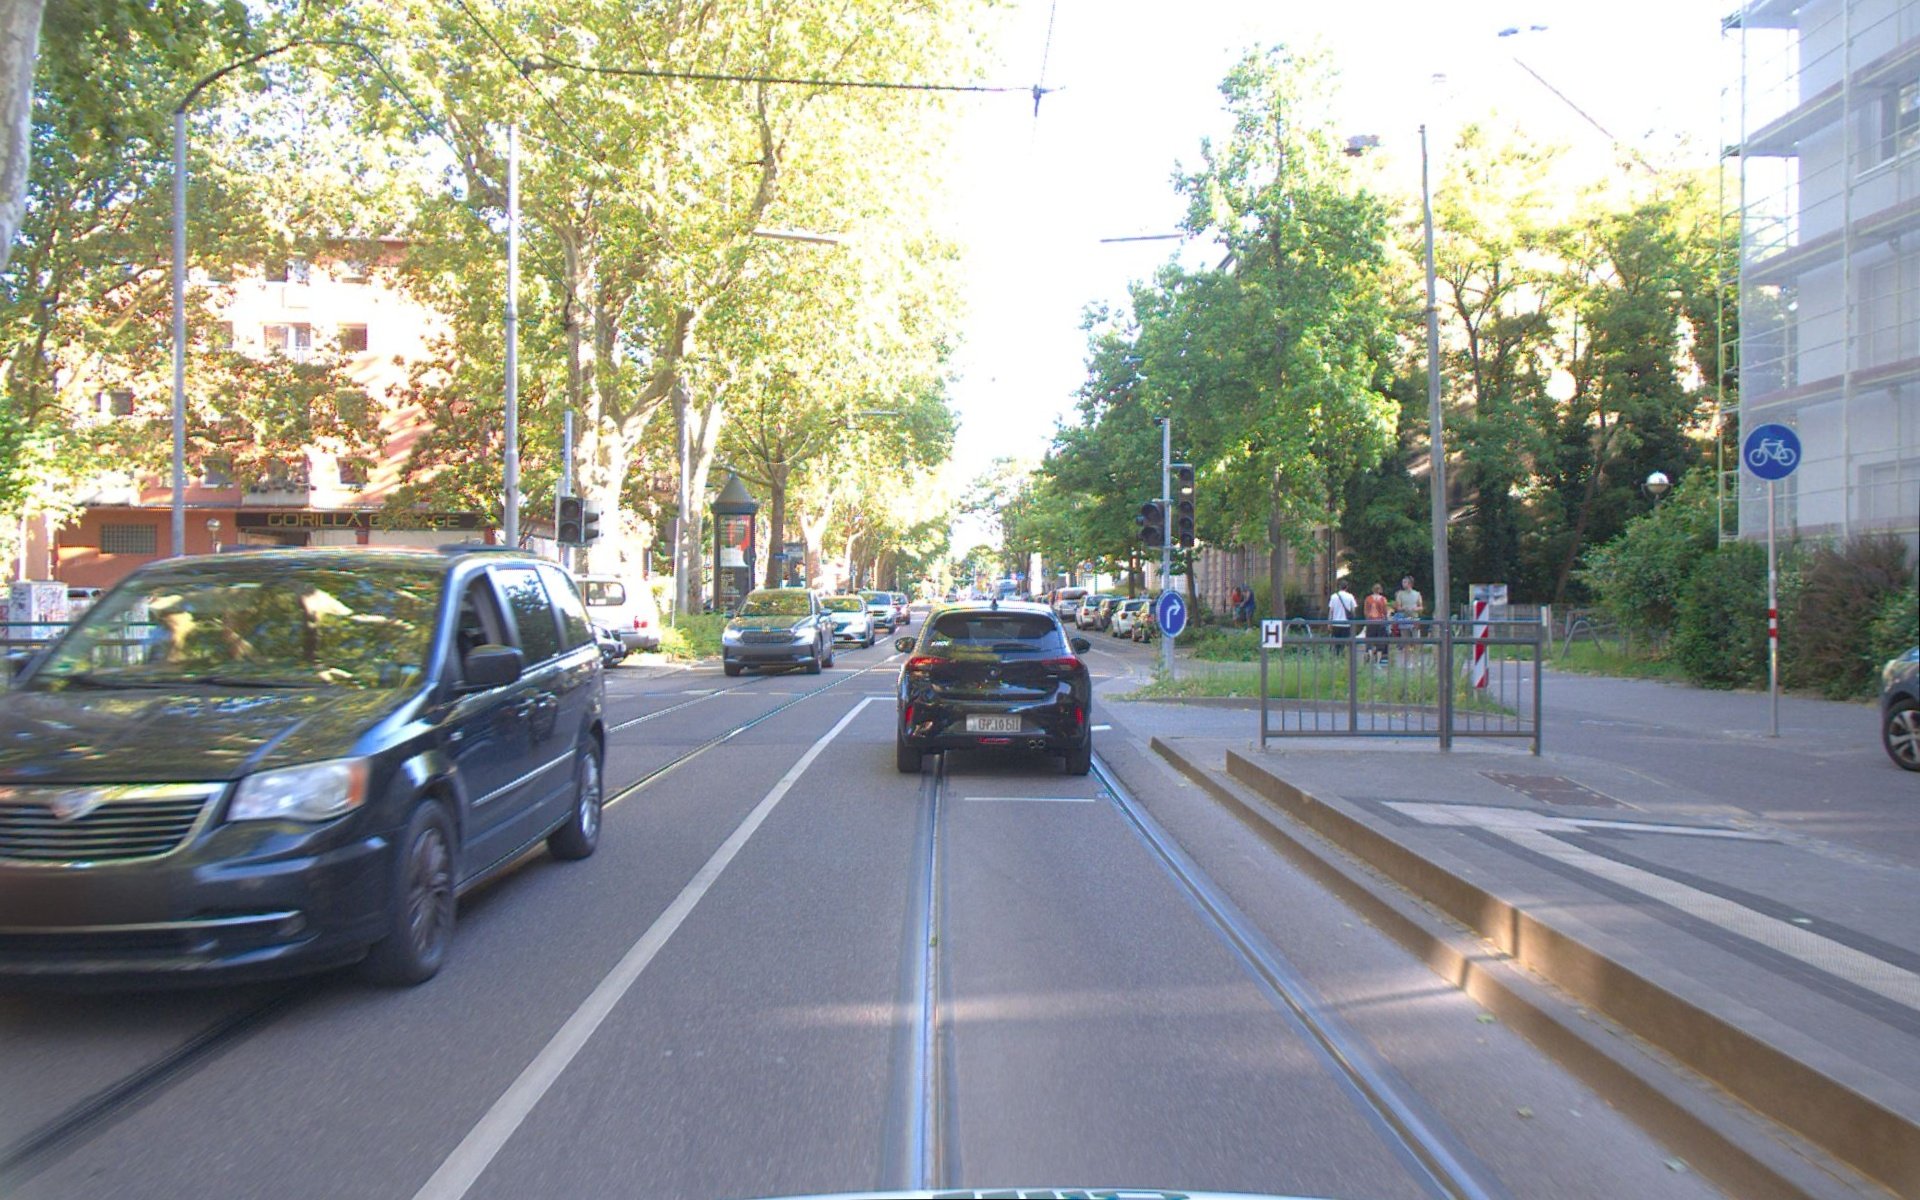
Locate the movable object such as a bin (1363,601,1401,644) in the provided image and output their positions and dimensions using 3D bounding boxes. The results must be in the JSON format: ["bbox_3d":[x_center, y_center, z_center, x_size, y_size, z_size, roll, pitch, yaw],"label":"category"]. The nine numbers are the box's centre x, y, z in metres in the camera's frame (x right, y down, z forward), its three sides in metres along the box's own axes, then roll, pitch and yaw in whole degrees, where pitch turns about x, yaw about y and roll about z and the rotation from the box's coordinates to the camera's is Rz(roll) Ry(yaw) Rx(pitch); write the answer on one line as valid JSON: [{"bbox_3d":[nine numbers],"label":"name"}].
[{"bbox_3d":[11.272,0.593,44.160,0.653,1.146,0.955,1,0,-8],"label":"movable object such as a bin"}]

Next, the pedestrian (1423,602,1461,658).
[{"bbox_3d":[9.920,0.616,34.050,0.660,1.138,0.660,1,0,8],"label":"pedestrian"}]

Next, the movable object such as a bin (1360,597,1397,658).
[{"bbox_3d":[8.744,0.569,34.586,0.625,1.223,1.306,-2,0,10],"label":"movable object such as a bin"}]

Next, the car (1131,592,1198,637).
[{"bbox_3d":[7.057,0.490,57.355,1.639,1.437,3.841,-2,0,-2],"label":"car"}]

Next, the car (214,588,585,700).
[{"bbox_3d":[-7.907,0.611,23.731,4.671,1.486,1.953,1,0,-5],"label":"car"}]

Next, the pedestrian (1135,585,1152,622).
[{"bbox_3d":[8.772,0.164,79.218,0.711,1.722,0.957,1,0,1],"label":"pedestrian"}]

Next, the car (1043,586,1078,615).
[{"bbox_3d":[6.233,0.030,102.870,1.847,1.797,4.677,0,0,-1],"label":"car"}]

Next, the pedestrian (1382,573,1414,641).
[{"bbox_3d":[11.487,0.190,43.369,0.607,1.756,0.552,1,0,-16],"label":"pedestrian"}]

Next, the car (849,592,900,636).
[{"bbox_3d":[-3.246,0.530,63.530,1.778,1.596,4.115,-1,0,-1],"label":"car"}]

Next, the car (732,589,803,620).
[{"bbox_3d":[-9.789,0.220,84.349,3.349,1.490,1.697,1,0,1],"label":"car"}]

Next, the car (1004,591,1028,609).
[{"bbox_3d":[4.857,-0.024,143.593,1.846,1.459,4.529,-2,0,-1],"label":"car"}]

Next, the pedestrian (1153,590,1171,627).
[{"bbox_3d":[9.642,0.402,79.110,0.711,1.739,0.856,1,0,-2],"label":"pedestrian"}]

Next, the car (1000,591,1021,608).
[{"bbox_3d":[4.667,-0.021,153.684,1.767,1.459,3.999,-1,-1,-1],"label":"car"}]

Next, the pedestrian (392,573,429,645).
[{"bbox_3d":[-14.317,0.226,43.096,0.630,1.841,0.752,1,0,4],"label":"pedestrian"}]

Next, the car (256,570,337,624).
[{"bbox_3d":[-26.426,-0.136,66.007,1.957,2.038,4.909,1,0,-10],"label":"car"}]

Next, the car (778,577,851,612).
[{"bbox_3d":[-10.035,-0.386,114.227,4.934,2.299,2.084,1,0,-4],"label":"car"}]

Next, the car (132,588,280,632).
[{"bbox_3d":[-26.530,0.359,58.327,4.385,1.475,1.820,1,0,-9],"label":"car"}]

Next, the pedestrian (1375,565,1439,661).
[{"bbox_3d":[9.099,0.269,33.695,0.854,1.918,0.993,1,0,-19],"label":"pedestrian"}]

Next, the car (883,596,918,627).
[{"bbox_3d":[-2.944,0.543,81.374,1.627,1.469,3.471,1,0,-3],"label":"car"}]

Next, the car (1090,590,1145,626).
[{"bbox_3d":[6.945,0.342,73.381,1.846,1.492,4.593,-2,0,-1],"label":"car"}]

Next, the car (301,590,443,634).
[{"bbox_3d":[-21.019,0.424,59.225,4.440,1.515,1.858,1,0,-7],"label":"car"}]

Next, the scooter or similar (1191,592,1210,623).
[{"bbox_3d":[10.223,0.314,70.330,0.564,1.268,1.335,1,0,0],"label":"scooter or similar"}]

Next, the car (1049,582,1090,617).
[{"bbox_3d":[6.157,-0.031,93.509,1.846,1.883,4.966,-2,0,-1],"label":"car"}]

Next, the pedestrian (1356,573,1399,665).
[{"bbox_3d":[8.481,0.377,33.637,0.710,1.824,0.969,-2,0,10],"label":"pedestrian"}]

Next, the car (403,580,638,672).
[{"bbox_3d":[-8.441,0.493,32.046,4.056,1.675,1.901,1,0,-3],"label":"car"}]

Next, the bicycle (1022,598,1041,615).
[{"bbox_3d":[4.419,0.389,102.864,0.948,1.016,2.582,1,0,-2],"label":"bicycle"}]

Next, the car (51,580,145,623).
[{"bbox_3d":[-34.360,0.043,66.073,1.908,1.646,4.475,1,0,-8],"label":"car"}]

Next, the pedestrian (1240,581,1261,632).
[{"bbox_3d":[10.545,0.224,60.027,0.586,1.824,0.728,1,0,-4],"label":"pedestrian"}]

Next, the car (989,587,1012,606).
[{"bbox_3d":[4.260,-0.380,174.644,2.208,1.873,5.530,-1,0,-1],"label":"car"}]

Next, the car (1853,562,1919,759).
[{"bbox_3d":[8.880,0.503,12.622,1.726,1.650,4.442,-2,1,1],"label":"car"}]

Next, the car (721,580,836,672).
[{"bbox_3d":[-3.499,0.479,32.594,1.870,1.666,4.319,-1,0,-2],"label":"car"}]

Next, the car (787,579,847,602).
[{"bbox_3d":[-10.115,-0.670,117.331,4.214,1.635,1.924,1,0,-4],"label":"car"}]

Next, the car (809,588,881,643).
[{"bbox_3d":[-3.245,0.423,47.250,1.739,1.486,4.204,1,0,0],"label":"car"}]

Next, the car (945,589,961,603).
[{"bbox_3d":[-0.998,-0.513,228.959,2.208,1.873,5.530,-1,0,-1],"label":"car"}]

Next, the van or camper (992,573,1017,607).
[{"bbox_3d":[4.470,-0.996,167.451,2.208,3.272,5.530,-1,0,-1],"label":"van or camper"}]

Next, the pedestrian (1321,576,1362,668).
[{"bbox_3d":[7.723,0.439,33.481,0.710,1.824,0.854,-2,0,10],"label":"pedestrian"}]

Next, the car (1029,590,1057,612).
[{"bbox_3d":[5.896,0.094,117.450,1.668,1.448,3.977,-3,0,-1],"label":"car"}]

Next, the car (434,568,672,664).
[{"bbox_3d":[-8.382,0.328,34.390,4.479,1.866,1.937,1,0,-3],"label":"car"}]

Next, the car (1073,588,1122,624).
[{"bbox_3d":[6.476,0.281,78.215,1.846,1.595,4.241,-2,0,-1],"label":"car"}]

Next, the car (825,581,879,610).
[{"bbox_3d":[-10.427,-0.442,159.985,4.934,2.415,2.081,-3,0,-1],"label":"car"}]

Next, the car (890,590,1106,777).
[{"bbox_3d":[0.287,0.677,15.363,1.727,1.486,3.950,1,0,-1],"label":"car"}]

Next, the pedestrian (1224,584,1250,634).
[{"bbox_3d":[10.177,0.322,60.754,0.715,1.824,0.597,1,0,-18],"label":"pedestrian"}]

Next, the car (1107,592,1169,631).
[{"bbox_3d":[6.834,0.433,63.998,1.846,1.391,4.106,-2,0,-1],"label":"car"}]

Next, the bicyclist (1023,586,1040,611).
[{"bbox_3d":[4.423,-0.096,102.843,0.939,1.525,1.093,1,0,-2],"label":"bicyclist"}]

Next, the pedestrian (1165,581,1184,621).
[{"bbox_3d":[9.777,0.045,75.330,0.712,1.824,0.599,1,0,-8],"label":"pedestrian"}]

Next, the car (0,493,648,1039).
[{"bbox_3d":[-2.928,0.529,7.901,1.953,1.746,5.142,1,0,-1],"label":"car"}]

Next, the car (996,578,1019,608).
[{"bbox_3d":[4.601,-0.705,160.888,2.043,2.820,4.696,-1,1,-1],"label":"car"}]
